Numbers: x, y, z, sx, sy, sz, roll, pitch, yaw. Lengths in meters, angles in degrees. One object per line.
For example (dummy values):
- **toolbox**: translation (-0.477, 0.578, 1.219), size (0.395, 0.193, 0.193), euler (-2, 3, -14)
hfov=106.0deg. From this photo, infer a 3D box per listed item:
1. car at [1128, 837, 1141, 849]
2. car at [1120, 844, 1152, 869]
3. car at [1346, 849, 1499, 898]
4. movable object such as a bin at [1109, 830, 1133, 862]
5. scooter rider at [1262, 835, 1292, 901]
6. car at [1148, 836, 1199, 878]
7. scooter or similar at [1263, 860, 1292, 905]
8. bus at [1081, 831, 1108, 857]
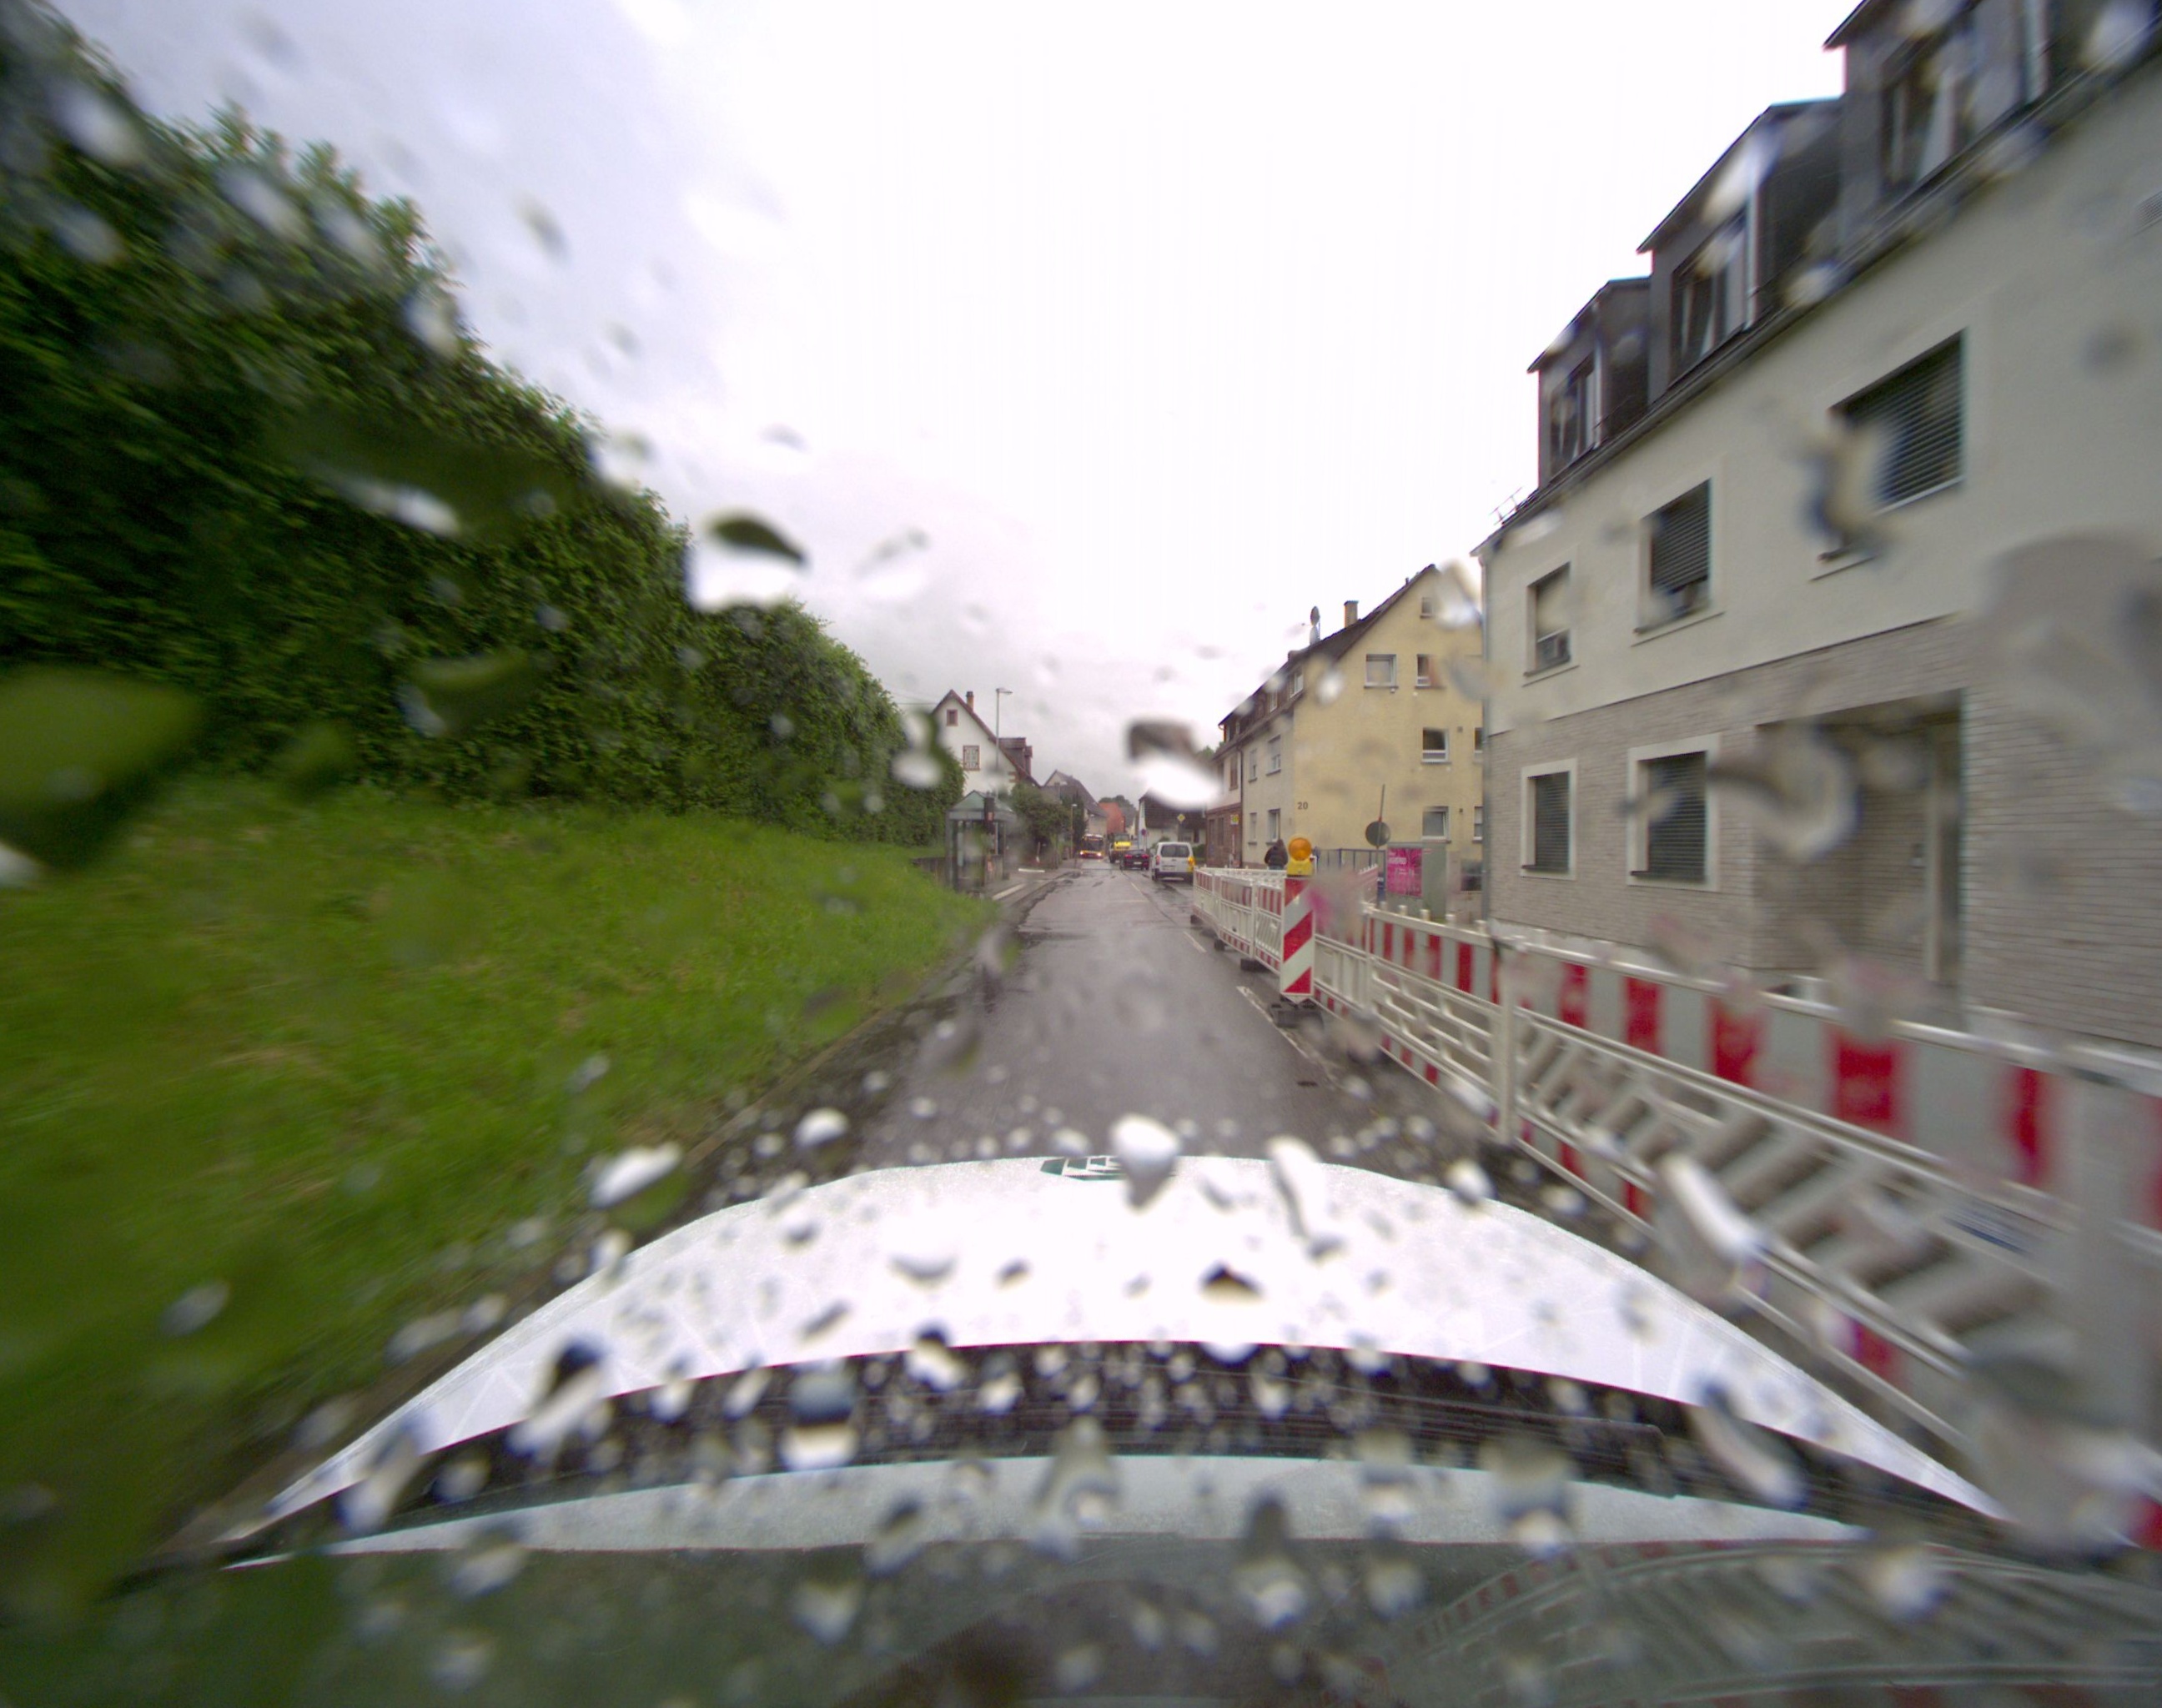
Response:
- **car**: translation (9.195, -1.888, 140.998), size (1.983, 2.013, 4.008), euler (-1, 0, 7)
- **car**: translation (3.757, 0.164, 56.058), size (1.804, 1.596, 3.754), euler (2, 1, -1)
- **car**: translation (10.973, 0.610, 26.371), size (4.130, 1.302, 1.912), euler (3, 0, 0)
- **movable object such as a bin**: translation (3.347, -0.691, 69.019), size (1.721, 2.653, 3.974), euler (2, 1, 0)
- **scooter rider**: translation (5.250, 0.370, 21.803), size (0.727, 1.733, 0.519), euler (0, 0, 7)
- **car**: translation (4.207, 0.106, 37.607), size (1.888, 1.793, 3.813), euler (2, 1, 0)
- **scooter or similar**: translation (5.213, 0.731, 21.653), size (0.617, 1.127, 1.405), euler (0, 0, 9)
- **bus**: translation (1.839, -1.372, 104.229), size (2.637, 2.999, 12.211), euler (1, 2, 5)
